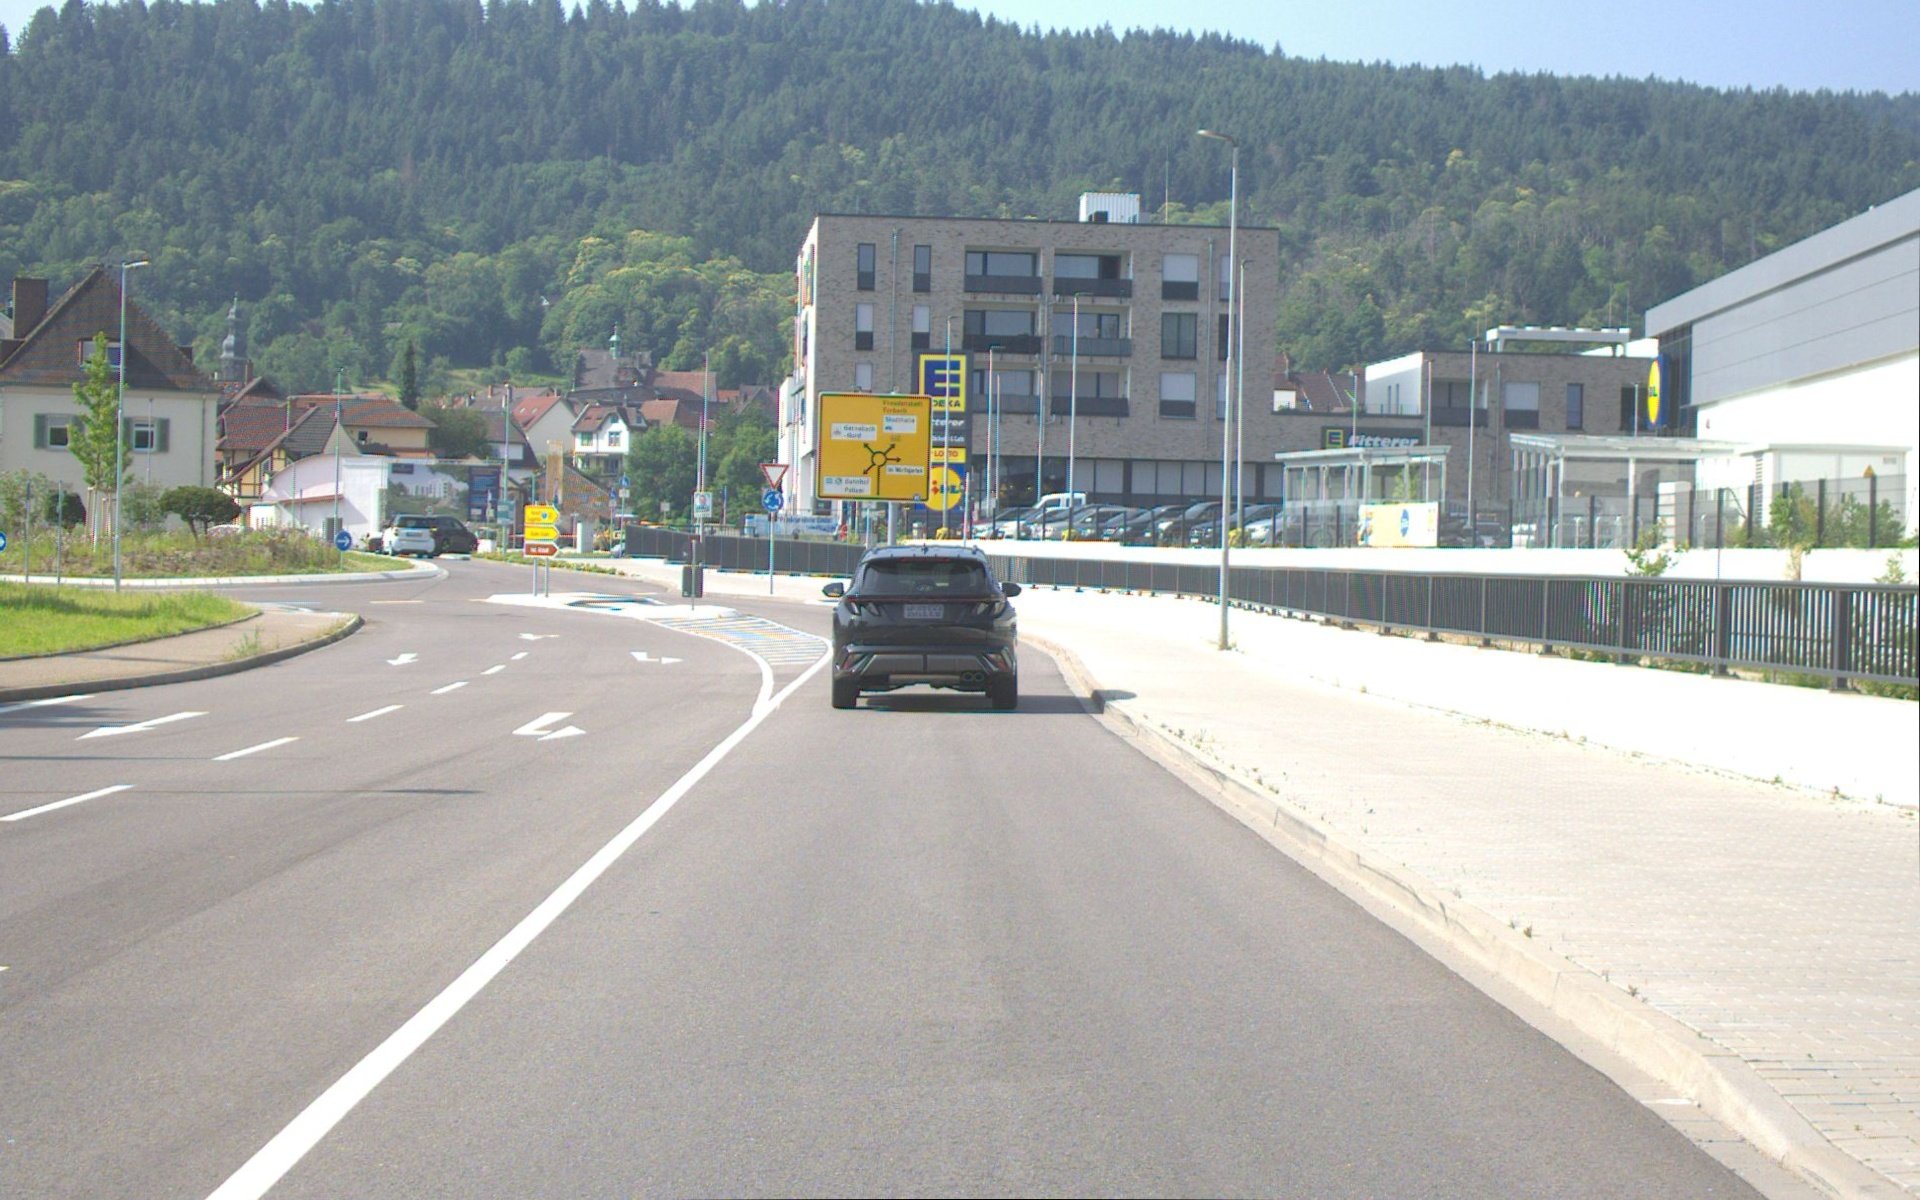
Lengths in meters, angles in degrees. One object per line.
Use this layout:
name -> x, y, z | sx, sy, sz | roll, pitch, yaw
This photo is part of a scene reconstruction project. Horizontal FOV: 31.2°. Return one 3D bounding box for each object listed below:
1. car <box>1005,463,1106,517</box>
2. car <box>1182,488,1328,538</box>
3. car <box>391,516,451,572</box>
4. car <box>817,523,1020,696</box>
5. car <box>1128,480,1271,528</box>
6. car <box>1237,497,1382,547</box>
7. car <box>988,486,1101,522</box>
car -> 3.789, -4.351, 136.053 | 3.987, 2.128, 2.000 | 0, 1, 3
car -> 8.809, -2.601, 102.531 | 4.060, 1.399, 1.486 | 0, 2, -19
car -> -19.607, -2.045, 125.216 | 1.993, 2.007, 4.001 | 0, 1, -6
car -> -0.483, 0.061, 35.486 | 1.881, 1.678, 4.001 | 0, 1, -4
car -> 7.392, -2.957, 106.127 | 4.004, 1.399, 1.726 | 0, 2, -19
car -> 10.107, -2.257, 99.542 | 3.804, 1.359, 1.681 | 0, 2, -19
car -> 2.962, -3.364, 120.296 | 3.554, 1.195, 1.715 | 0, 2, -18
